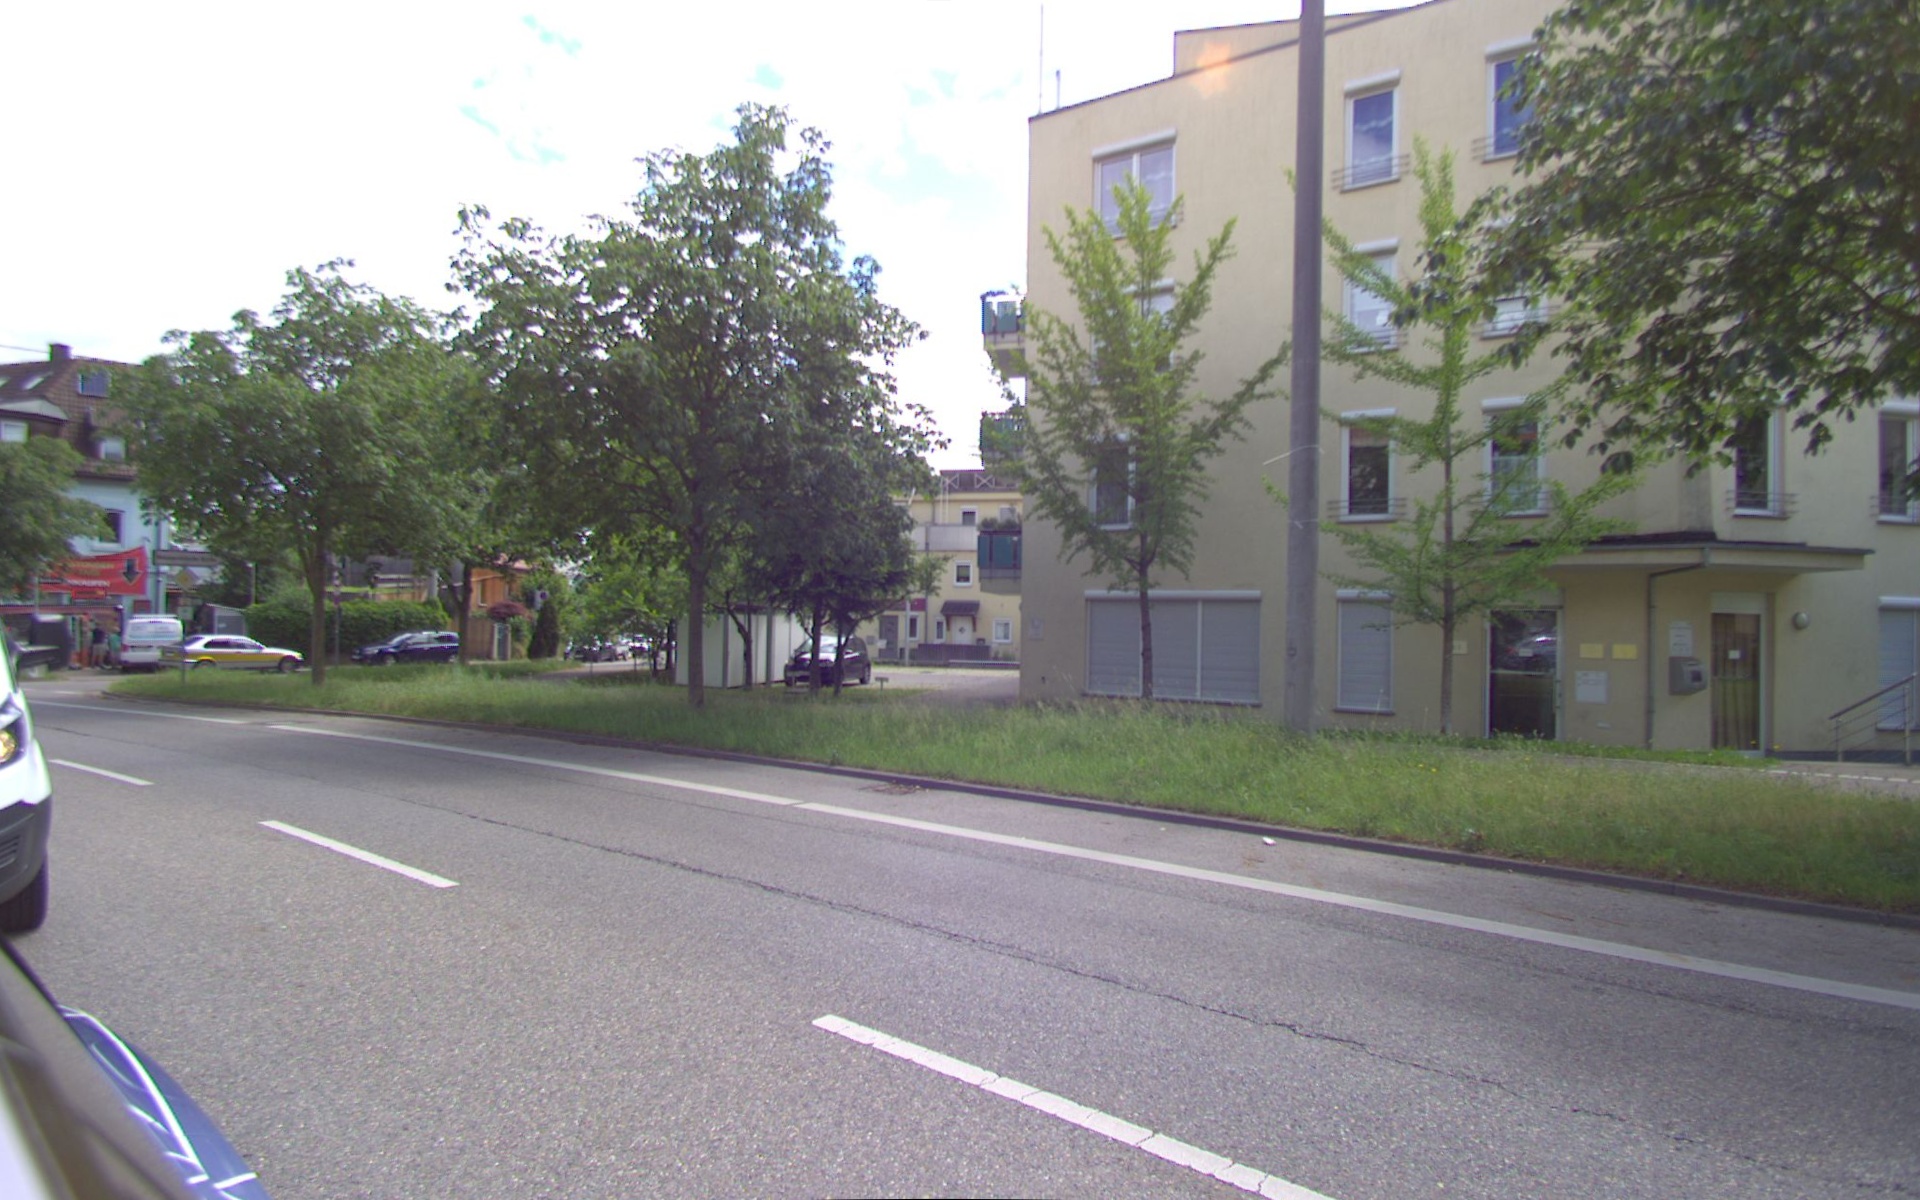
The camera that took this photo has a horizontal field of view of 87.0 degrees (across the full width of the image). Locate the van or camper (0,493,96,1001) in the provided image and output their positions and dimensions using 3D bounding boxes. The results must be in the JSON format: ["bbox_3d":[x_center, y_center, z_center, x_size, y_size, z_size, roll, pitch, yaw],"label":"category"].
[{"bbox_3d":[-6.227,0.621,5.193,5.100,2.029,2.000,-2,-3,41],"label":"van or camper"}]

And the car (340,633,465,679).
[{"bbox_3d":[-21.704,2.141,39.515,1.715,1.695,3.928,-1,-2,37],"label":"car"}]

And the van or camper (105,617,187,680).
[{"bbox_3d":[-29.463,1.695,36.596,3.811,2.105,1.770,-1,0,43],"label":"van or camper"}]

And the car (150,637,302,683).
[{"bbox_3d":[-25.321,2.032,35.055,1.529,1.332,4.008,-1,0,27],"label":"car"}]

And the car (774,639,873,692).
[{"bbox_3d":[-3.960,1.889,29.904,1.774,1.431,3.987,-1,-2,10],"label":"car"}]

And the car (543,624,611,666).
[{"bbox_3d":[-19.154,2.225,50.799,1.953,2.029,4.000,0,-2,-1],"label":"car"}]

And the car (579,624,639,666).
[{"bbox_3d":[-19.019,2.399,55.018,1.971,2.029,4.001,-1,0,-1],"label":"car"}]

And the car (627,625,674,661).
[{"bbox_3d":[-19.472,2.685,63.883,1.870,2.029,4.002,-1,0,-2],"label":"car"}]

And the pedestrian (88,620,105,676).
[{"bbox_3d":[-31.746,1.758,37.212,0.363,2.029,0.419,-1,0,41],"label":"pedestrian"}]

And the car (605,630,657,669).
[{"bbox_3d":[-19.203,2.873,59.279,1.970,2.029,4.003,-1,0,-4],"label":"car"}]

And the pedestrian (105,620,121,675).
[{"bbox_3d":[-31.397,1.742,37.516,0.443,2.005,0.378,-1,0,41],"label":"pedestrian"}]
